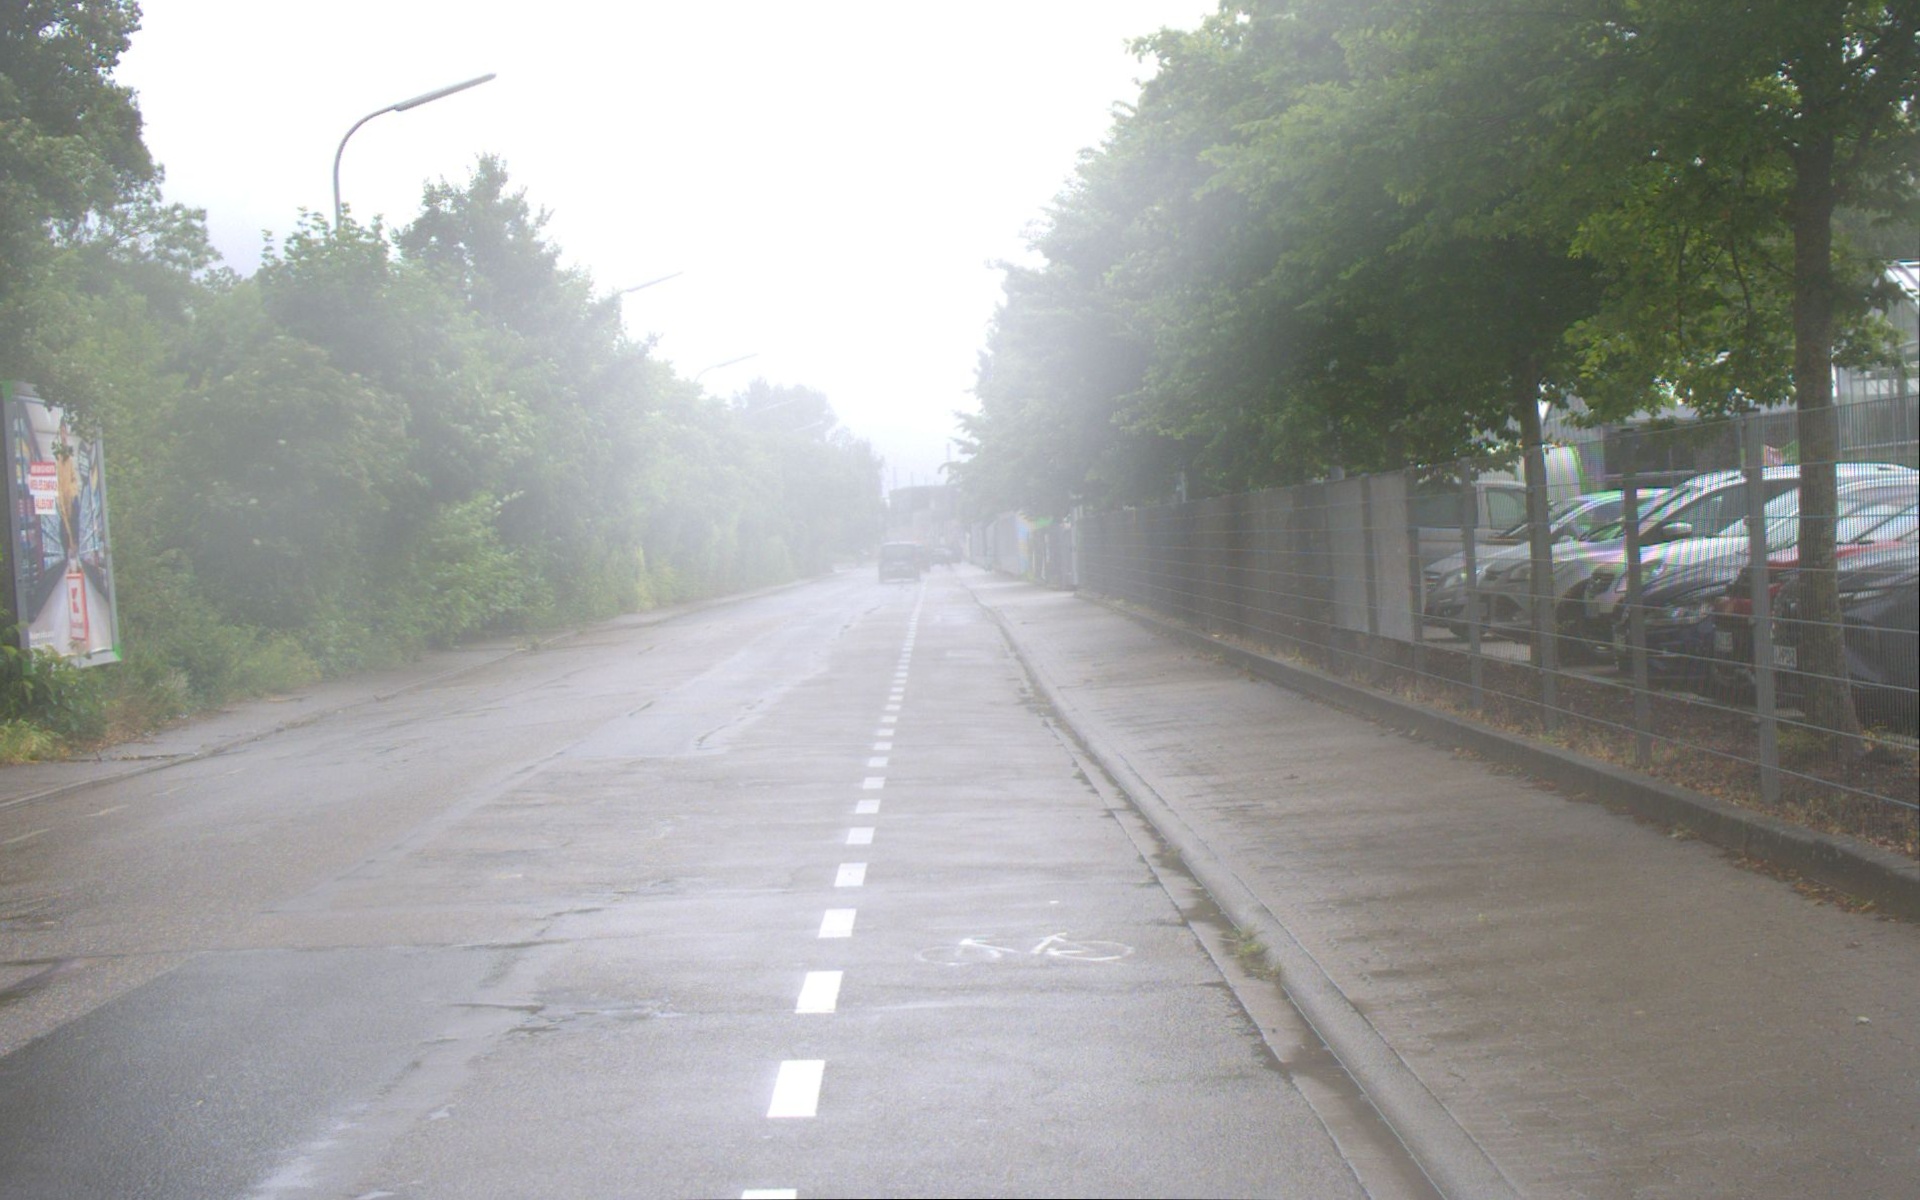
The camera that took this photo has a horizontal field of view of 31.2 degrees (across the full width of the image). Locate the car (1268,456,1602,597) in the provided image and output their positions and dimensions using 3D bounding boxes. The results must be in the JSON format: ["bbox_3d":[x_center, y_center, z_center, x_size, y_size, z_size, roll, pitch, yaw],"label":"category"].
[{"bbox_3d":[6.507,-1.017,47.387,4.208,1.671,1.824,-3,1,-3],"label":"car"}]

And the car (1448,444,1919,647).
[{"bbox_3d":[6.791,-0.518,31.406,4.207,1.583,1.824,-3,1,-7],"label":"car"}]

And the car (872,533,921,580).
[{"bbox_3d":[-2.777,-1.896,151.130,1.993,1.904,4.201,-4,0,-1],"label":"car"}]

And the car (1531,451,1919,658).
[{"bbox_3d":[7.135,-0.434,28.821,4.207,1.528,1.824,-3,1,-7],"label":"car"}]

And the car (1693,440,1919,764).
[{"bbox_3d":[6.327,-0.113,18.539,4.207,1.613,1.824,-3,1,-7],"label":"car"}]

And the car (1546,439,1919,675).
[{"bbox_3d":[6.838,-0.394,26.346,4.207,1.613,1.824,-3,1,-7],"label":"car"}]

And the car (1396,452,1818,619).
[{"bbox_3d":[7.121,-0.720,38.073,4.208,1.583,1.824,-3,1,-3],"label":"car"}]

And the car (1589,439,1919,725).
[{"bbox_3d":[6.273,-0.206,21.411,4.207,1.613,1.824,-3,1,-7],"label":"car"}]

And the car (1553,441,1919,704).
[{"bbox_3d":[6.415,-0.267,23.552,4.207,1.613,1.824,-3,1,-7],"label":"car"}]
